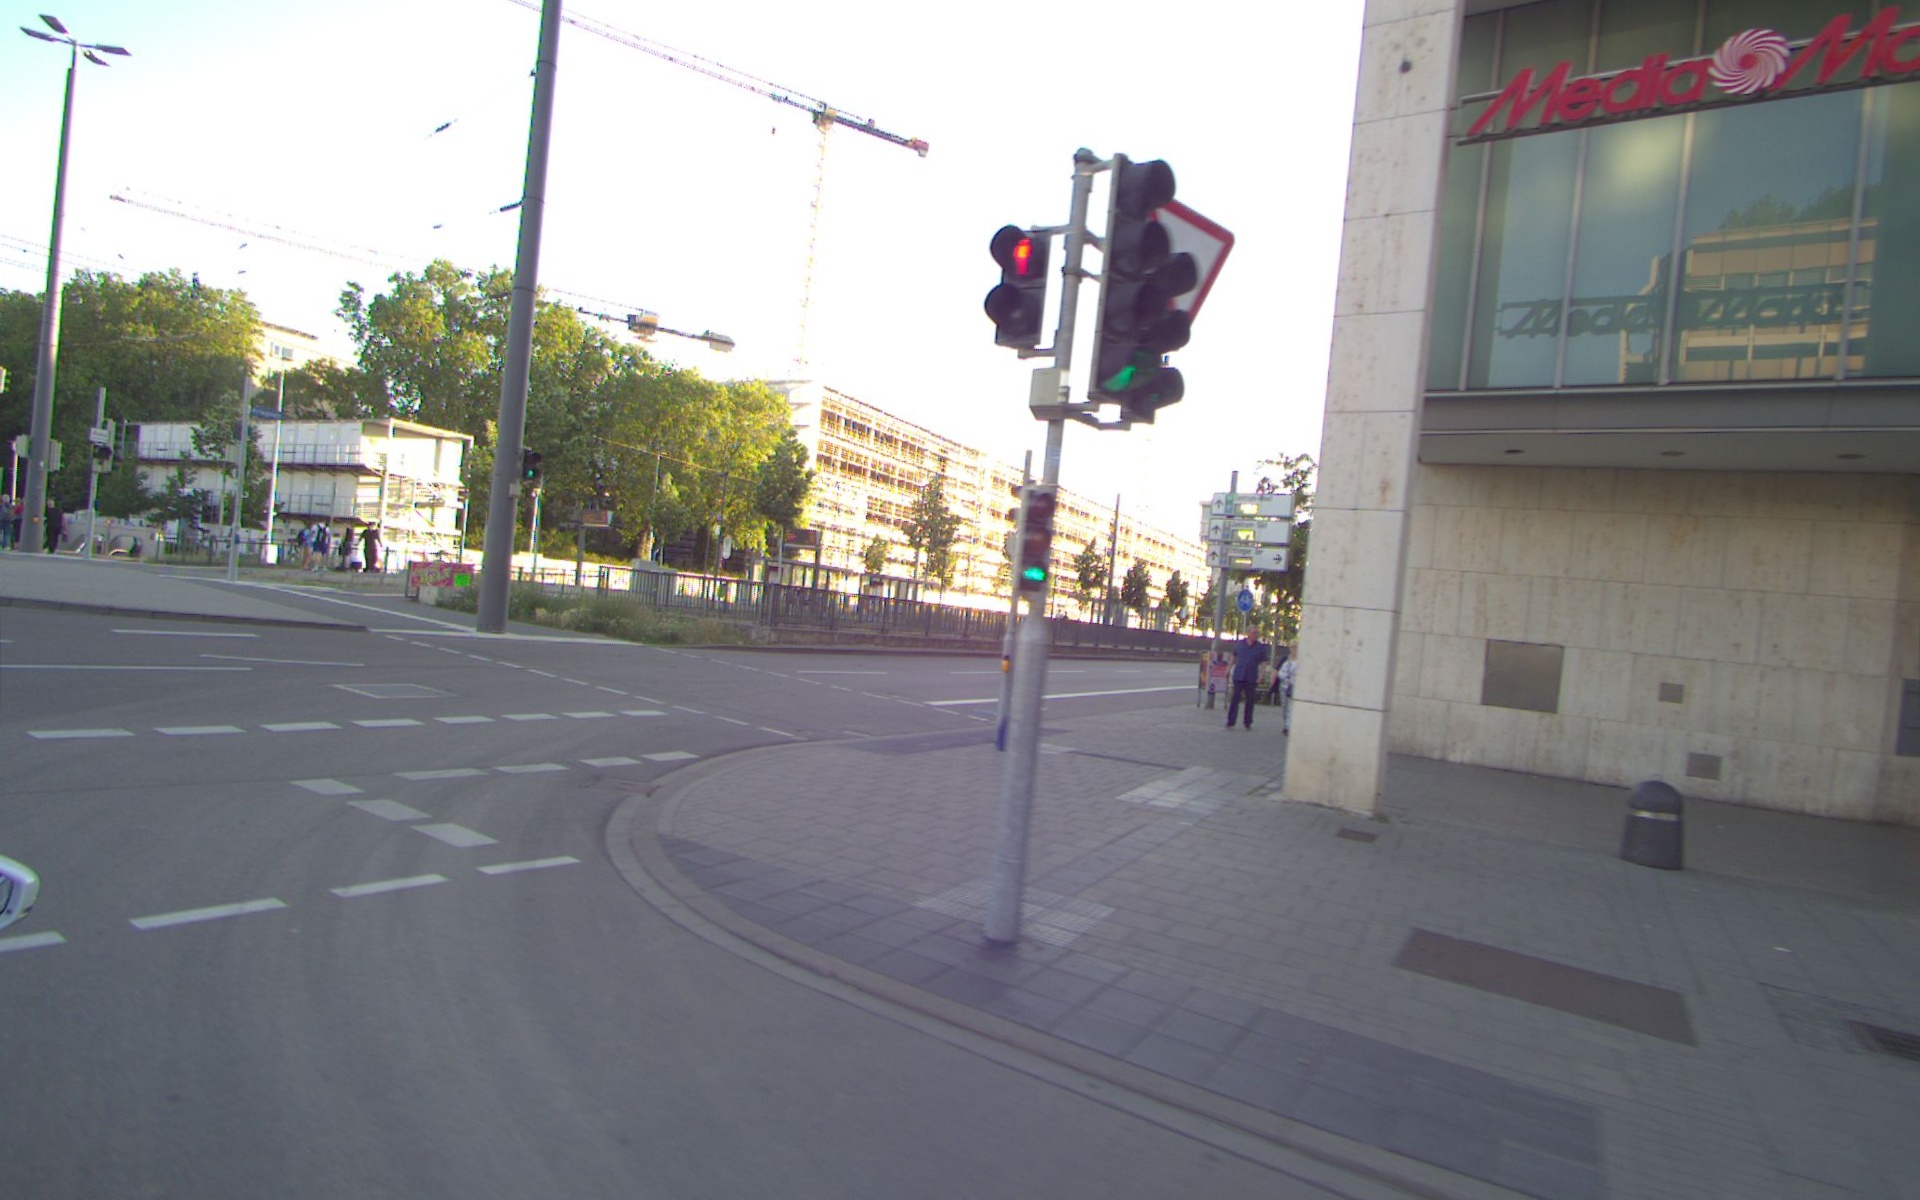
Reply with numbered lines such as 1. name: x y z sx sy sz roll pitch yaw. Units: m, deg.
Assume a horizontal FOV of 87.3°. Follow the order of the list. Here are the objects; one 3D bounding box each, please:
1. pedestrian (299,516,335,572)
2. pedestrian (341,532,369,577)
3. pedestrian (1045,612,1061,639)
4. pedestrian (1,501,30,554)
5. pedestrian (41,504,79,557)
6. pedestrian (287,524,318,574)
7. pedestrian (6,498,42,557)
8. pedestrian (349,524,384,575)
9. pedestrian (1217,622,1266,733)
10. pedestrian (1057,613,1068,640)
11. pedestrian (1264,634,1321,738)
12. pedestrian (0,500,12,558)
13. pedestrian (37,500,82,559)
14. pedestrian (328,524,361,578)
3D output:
1. pedestrian: -21.178 -1.829 33.151 0.659 1.746 0.710 6 0 41
2. pedestrian: -20.788 -1.567 34.549 0.672 1.459 0.707 5 0 -36
3. pedestrian: 6.080 1.667 65.750 0.657 1.690 0.574 6 0 37
4. pedestrian: -31.722 -2.440 33.782 0.570 1.699 0.631 6 1 -44
5. pedestrian: -32.649 -2.510 36.499 0.789 1.814 0.804 6 0 40
6. pedestrian: -22.047 -1.706 33.731 0.527 1.612 0.571 6 1 32
7. pedestrian: -29.684 -2.288 31.910 0.700 1.756 0.837 6 0 -42
8. pedestrian: -21.211 -1.801 35.946 0.657 1.746 0.712 6 0 29
9. pedestrian: 4.666 1.266 16.655 0.579 1.746 0.668 6 0 20
10. pedestrian: 6.644 1.706 65.380 0.396 1.690 0.448 6 1 38
11. pedestrian: 5.389 1.376 16.299 0.712 1.565 0.668 6 0 20
12. pedestrian: -30.853 -2.303 32.241 0.570 1.814 0.631 6 1 -44
13. pedestrian: -29.684 -2.313 33.167 0.787 1.814 0.806 6 0 30
14. pedestrian: -20.641 -1.643 33.721 0.708 1.746 0.661 6 0 -41
